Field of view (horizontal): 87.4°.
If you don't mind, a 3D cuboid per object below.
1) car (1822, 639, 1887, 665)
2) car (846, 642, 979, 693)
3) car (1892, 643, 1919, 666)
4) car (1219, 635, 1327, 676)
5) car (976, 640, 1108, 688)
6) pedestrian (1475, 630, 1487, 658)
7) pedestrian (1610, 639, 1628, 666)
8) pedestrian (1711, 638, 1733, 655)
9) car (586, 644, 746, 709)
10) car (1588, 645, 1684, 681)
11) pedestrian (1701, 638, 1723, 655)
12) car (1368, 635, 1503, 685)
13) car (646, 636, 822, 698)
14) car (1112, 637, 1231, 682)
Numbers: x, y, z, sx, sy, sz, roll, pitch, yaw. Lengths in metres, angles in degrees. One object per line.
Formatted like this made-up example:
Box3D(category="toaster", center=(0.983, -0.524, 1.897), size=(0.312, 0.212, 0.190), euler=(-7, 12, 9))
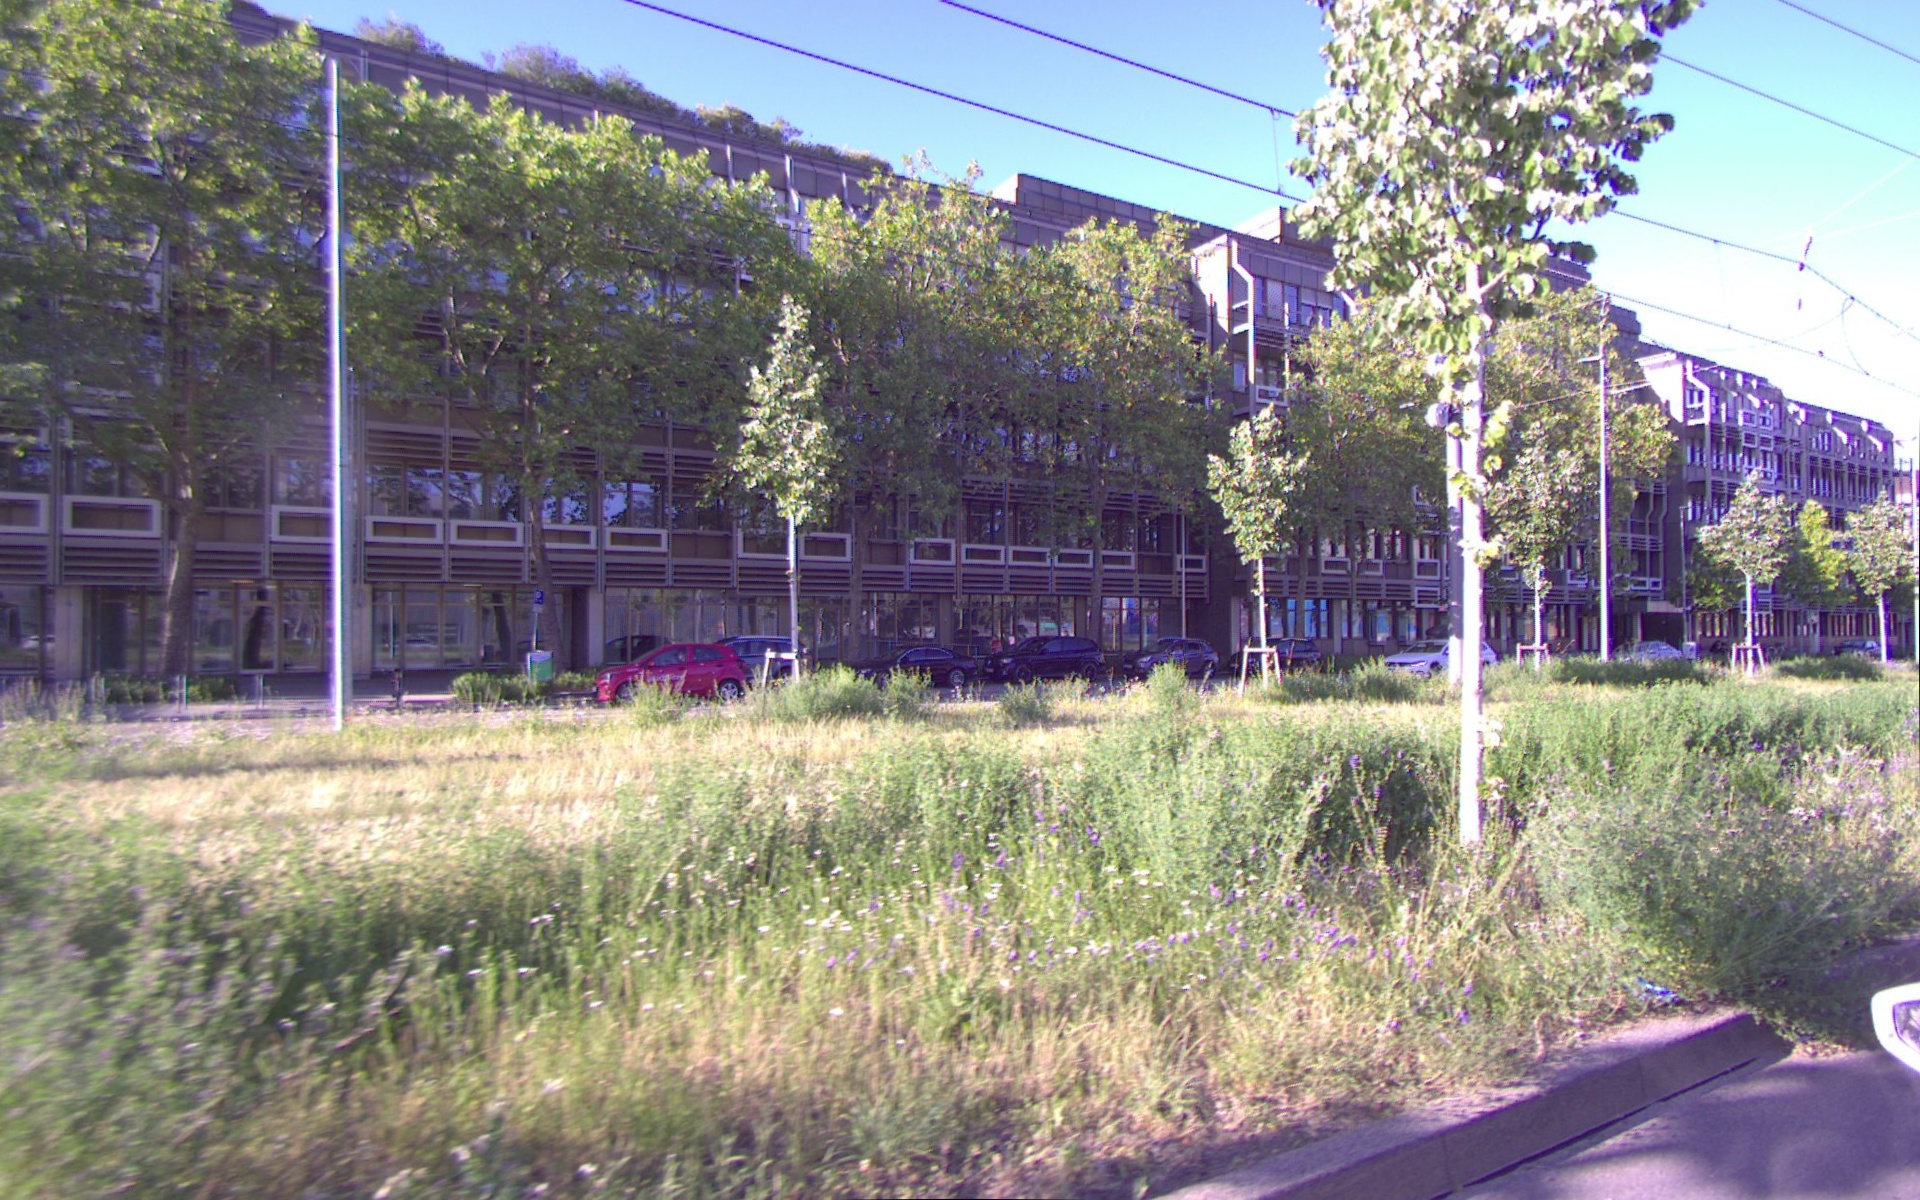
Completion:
Box3D(category="car", center=(56.298, 3.243, 63.212), size=(4.253, 1.596, 1.894), euler=(1, -3, -32))
Box3D(category="car", center=(-1.569, 2.180, 33.112), size=(3.948, 1.541, 1.987), euler=(1, -1, -27))
Box3D(category="car", center=(67.989, 3.825, 71.128), size=(4.253, 1.596, 1.894), euler=(1, -3, -32))
Box3D(category="car", center=(12.979, 2.302, 41.619), size=(4.225, 1.617, 1.853), euler=(1, -3, -29))
Box3D(category="car", center=(2.963, 2.243, 35.811), size=(4.570, 1.578, 1.735), euler=(1, -1, -31))
Box3D(category="pedestrian", center=(28.924, 2.450, 55.776), size=(0.441, 1.582, 0.407), euler=(1, -2, -29))
Box3D(category="pedestrian", center=(37.971, 3.022, 57.895), size=(0.643, 1.552, 0.659), euler=(1, -2, -36))
Box3D(category="pedestrian", center=(52.247, 3.196, 68.882), size=(0.888, 1.184, 0.896), euler=(1, -2, -30))
Box3D(category="car", center=(-7.188, 1.856, 24.579), size=(3.530, 1.471, 1.705), euler=(1, -5, -28))
Box3D(category="car", center=(30.288, 2.783, 44.981), size=(4.528, 1.535, 1.751), euler=(1, -3, -30))
Box3D(category="pedestrian", center=(51.212, 3.173, 68.411), size=(0.856, 1.184, 0.895), euler=(1, -2, -31))
Box3D(category="car", center=(16.210, 2.012, 34.215), size=(4.637, 1.615, 1.832), euler=(1, -3, -30))
Box3D(category="car", center=(-6.791, 1.953, 30.367), size=(4.815, 1.702, 1.983), euler=(1, -1, -32))
Box3D(category="car", center=(8.234, 2.302, 39.148), size=(4.307, 1.653, 1.904), euler=(1, -4, -28))
